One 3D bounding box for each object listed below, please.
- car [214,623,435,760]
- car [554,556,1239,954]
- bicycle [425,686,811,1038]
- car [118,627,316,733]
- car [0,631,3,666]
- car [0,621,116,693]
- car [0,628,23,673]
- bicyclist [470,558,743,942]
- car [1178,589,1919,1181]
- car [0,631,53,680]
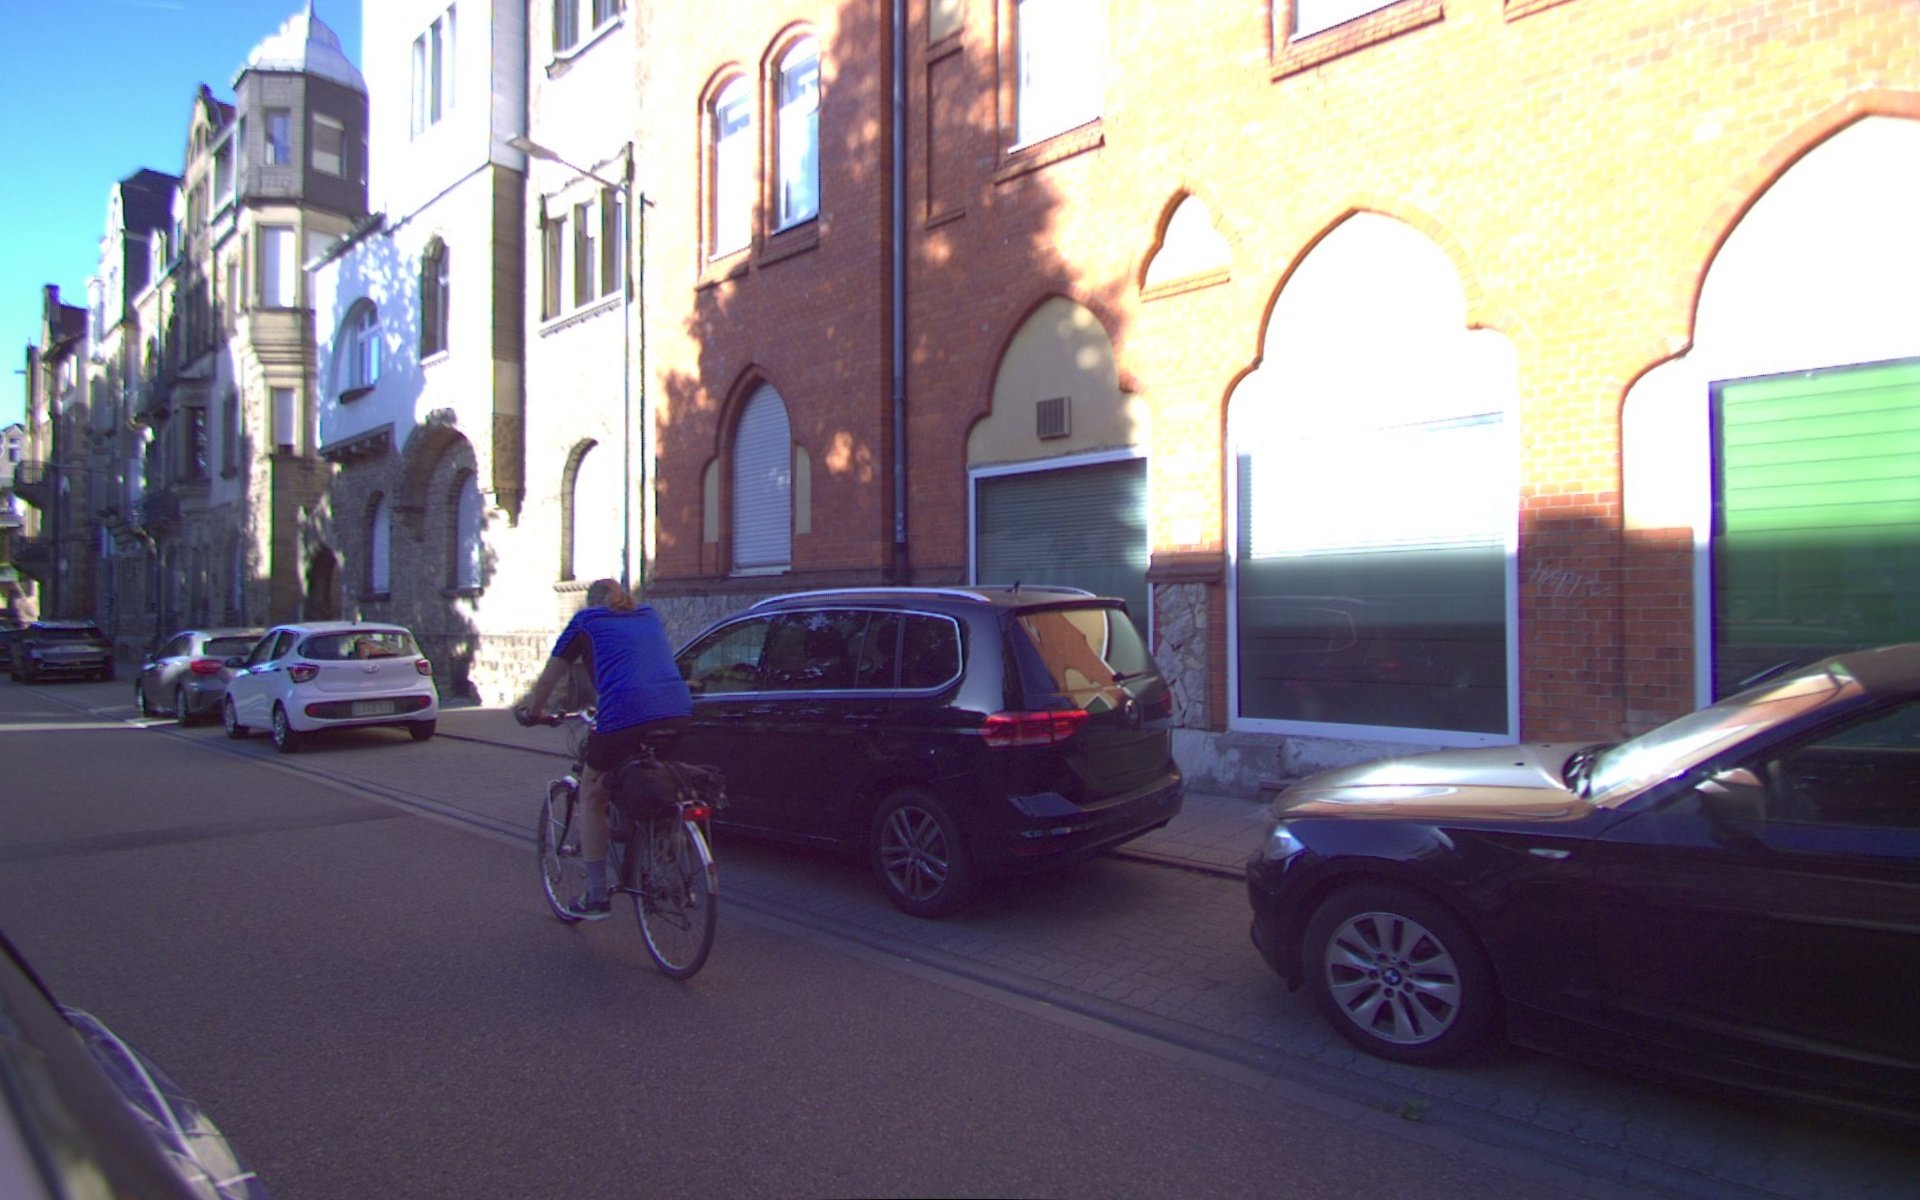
[{"bbox_3d":[-8.237,1.073,13.004,3.591,1.481,1.549,-2,-1,43],"label":"car"},{"bbox_3d":[-0.653,0.691,6.351,4.346,1.693,1.652,-1,-1,40],"label":"car"},{"bbox_3d":[-1.576,0.997,4.479,1.906,1.116,0.750,-1,-2,41],"label":"bicycle"},{"bbox_3d":[-12.055,1.210,16.332,4.108,1.454,1.659,-2,-1,40],"label":"car"},{"bbox_3d":[-41.988,2.158,42.988,3.854,1.458,1.612,-4,0,42],"label":"car"},{"bbox_3d":[-24.072,1.462,26.931,4.337,1.730,1.856,-2,-1,41],"label":"car"},{"bbox_3d":[-37.845,1.944,39.260,4.210,1.680,1.751,-1,-1,41],"label":"car"},{"bbox_3d":[-1.566,0.587,4.482,0.948,1.465,0.751,-1,-2,41],"label":"bicyclist"},{"bbox_3d":[2.985,0.693,2.992,4.331,1.421,1.618,-1,1,42],"label":"car"},{"bbox_3d":[-32.793,1.883,34.904,4.210,1.512,1.751,0,-1,41],"label":"car"}]
